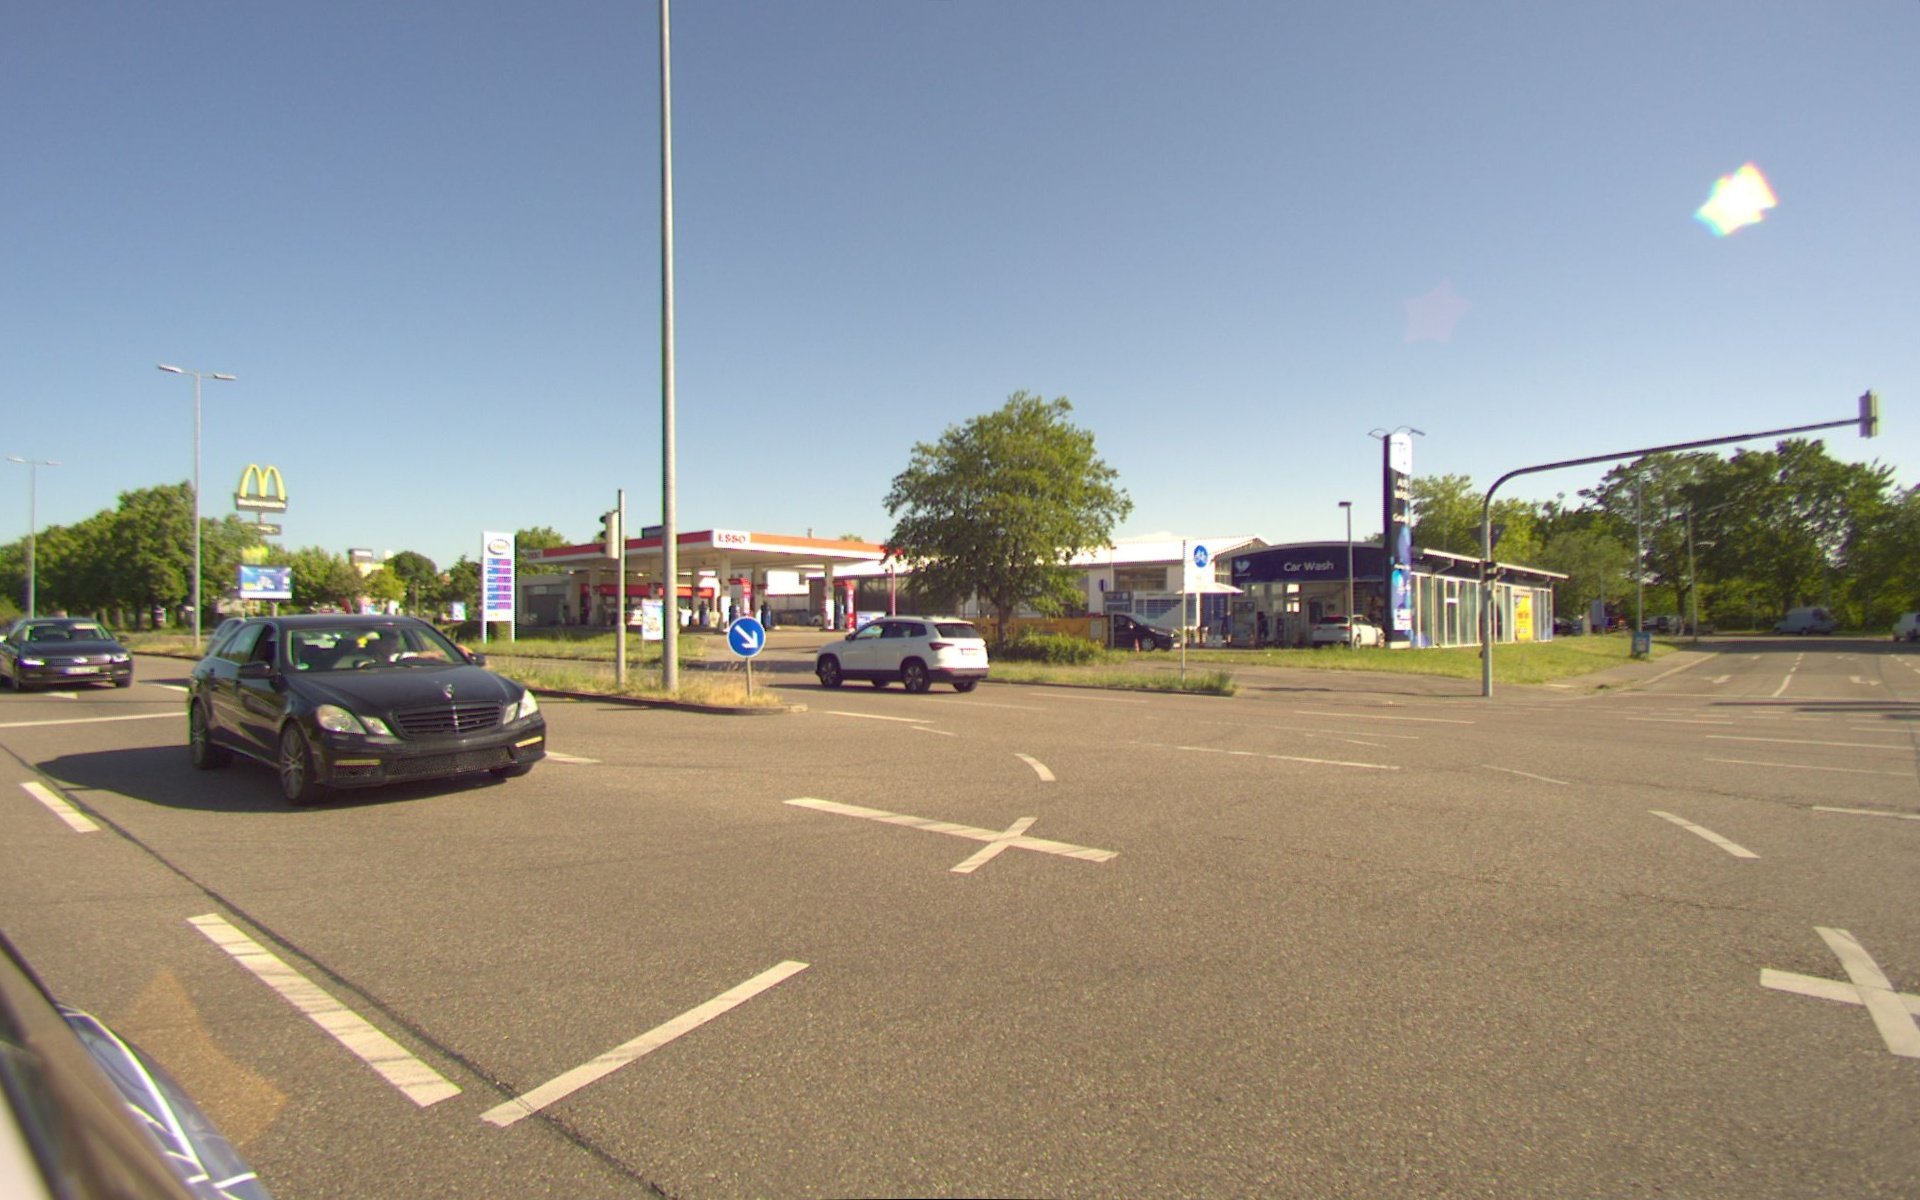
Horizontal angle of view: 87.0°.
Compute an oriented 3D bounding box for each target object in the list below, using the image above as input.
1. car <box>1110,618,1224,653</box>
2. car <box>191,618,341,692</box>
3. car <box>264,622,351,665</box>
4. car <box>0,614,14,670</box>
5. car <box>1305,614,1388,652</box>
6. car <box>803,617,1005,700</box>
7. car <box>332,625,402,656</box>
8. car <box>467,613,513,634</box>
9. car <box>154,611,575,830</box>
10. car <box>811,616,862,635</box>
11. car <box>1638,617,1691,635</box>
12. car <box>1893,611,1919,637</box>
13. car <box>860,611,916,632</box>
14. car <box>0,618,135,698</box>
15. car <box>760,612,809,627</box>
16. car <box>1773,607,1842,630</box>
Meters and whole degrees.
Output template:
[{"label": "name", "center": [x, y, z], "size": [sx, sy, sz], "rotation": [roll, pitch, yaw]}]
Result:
[{"label": "car", "center": [8.316, 1.417, 40.778], "size": [4.116, 1.335, 1.876], "rotation": [-1, -3, 40]}, {"label": "car", "center": [-15.267, 1.132, 22.194], "size": [4.115, 1.466, 1.767], "rotation": [-1, -2, 42]}, {"label": "car", "center": [-23.596, 1.549, 36.558], "size": [3.663, 1.443, 1.677], "rotation": [-1, -3, 42]}, {"label": "car", "center": [-31.534, 1.319, 31.970], "size": [4.694, 1.696, 1.973], "rotation": [-1, 0, 41]}, {"label": "car", "center": [15.741, 1.361, 41.134], "size": [1.900, 1.443, 4.063], "rotation": [-1, -3, 41]}, {"label": "car", "center": [-1.276, 1.194, 21.871], "size": [4.265, 1.612, 1.875], "rotation": [-1, -3, 42]}, {"label": "car", "center": [-29.570, 1.984, 50.417], "size": [4.457, 1.443, 1.677], "rotation": [-1, -3, 42]}, {"label": "car", "center": [-38.064, 1.915, 81.931], "size": [4.116, 1.625, 1.740], "rotation": [-1, -3, 40]}, {"label": "car", "center": [-5.671, 0.869, 9.317], "size": [4.916, 1.494, 1.938], "rotation": [-1, -1, 42]}, {"label": "car", "center": [-9.979, 2.035, 81.446], "size": [4.116, 1.451, 1.750], "rotation": [-1, -2, 40]}, {"label": "car", "center": [72.867, 2.714, 104.803], "size": [2.072, 1.813, 4.786], "rotation": [1, -2, 0]}, {"label": "car", "center": [63.810, 1.627, 66.850], "size": [1.898, 1.681, 4.265], "rotation": [0, -2, 24]}, {"label": "car", "center": [-5.549, 1.644, 77.730], "size": [4.116, 1.603, 1.876], "rotation": [-1, -3, 40]}, {"label": "car", "center": [-18.714, 1.131, 21.016], "size": [4.264, 1.464, 1.824], "rotation": [-1, -1, 42]}, {"label": "car", "center": [-14.938, 1.649, 86.185], "size": [4.116, 1.236, 1.876], "rotation": [-1, -3, 40]}, {"label": "car", "center": [69.818, 1.557, 83.462], "size": [2.077, 1.813, 4.775], "rotation": [1, -2, 8]}]
